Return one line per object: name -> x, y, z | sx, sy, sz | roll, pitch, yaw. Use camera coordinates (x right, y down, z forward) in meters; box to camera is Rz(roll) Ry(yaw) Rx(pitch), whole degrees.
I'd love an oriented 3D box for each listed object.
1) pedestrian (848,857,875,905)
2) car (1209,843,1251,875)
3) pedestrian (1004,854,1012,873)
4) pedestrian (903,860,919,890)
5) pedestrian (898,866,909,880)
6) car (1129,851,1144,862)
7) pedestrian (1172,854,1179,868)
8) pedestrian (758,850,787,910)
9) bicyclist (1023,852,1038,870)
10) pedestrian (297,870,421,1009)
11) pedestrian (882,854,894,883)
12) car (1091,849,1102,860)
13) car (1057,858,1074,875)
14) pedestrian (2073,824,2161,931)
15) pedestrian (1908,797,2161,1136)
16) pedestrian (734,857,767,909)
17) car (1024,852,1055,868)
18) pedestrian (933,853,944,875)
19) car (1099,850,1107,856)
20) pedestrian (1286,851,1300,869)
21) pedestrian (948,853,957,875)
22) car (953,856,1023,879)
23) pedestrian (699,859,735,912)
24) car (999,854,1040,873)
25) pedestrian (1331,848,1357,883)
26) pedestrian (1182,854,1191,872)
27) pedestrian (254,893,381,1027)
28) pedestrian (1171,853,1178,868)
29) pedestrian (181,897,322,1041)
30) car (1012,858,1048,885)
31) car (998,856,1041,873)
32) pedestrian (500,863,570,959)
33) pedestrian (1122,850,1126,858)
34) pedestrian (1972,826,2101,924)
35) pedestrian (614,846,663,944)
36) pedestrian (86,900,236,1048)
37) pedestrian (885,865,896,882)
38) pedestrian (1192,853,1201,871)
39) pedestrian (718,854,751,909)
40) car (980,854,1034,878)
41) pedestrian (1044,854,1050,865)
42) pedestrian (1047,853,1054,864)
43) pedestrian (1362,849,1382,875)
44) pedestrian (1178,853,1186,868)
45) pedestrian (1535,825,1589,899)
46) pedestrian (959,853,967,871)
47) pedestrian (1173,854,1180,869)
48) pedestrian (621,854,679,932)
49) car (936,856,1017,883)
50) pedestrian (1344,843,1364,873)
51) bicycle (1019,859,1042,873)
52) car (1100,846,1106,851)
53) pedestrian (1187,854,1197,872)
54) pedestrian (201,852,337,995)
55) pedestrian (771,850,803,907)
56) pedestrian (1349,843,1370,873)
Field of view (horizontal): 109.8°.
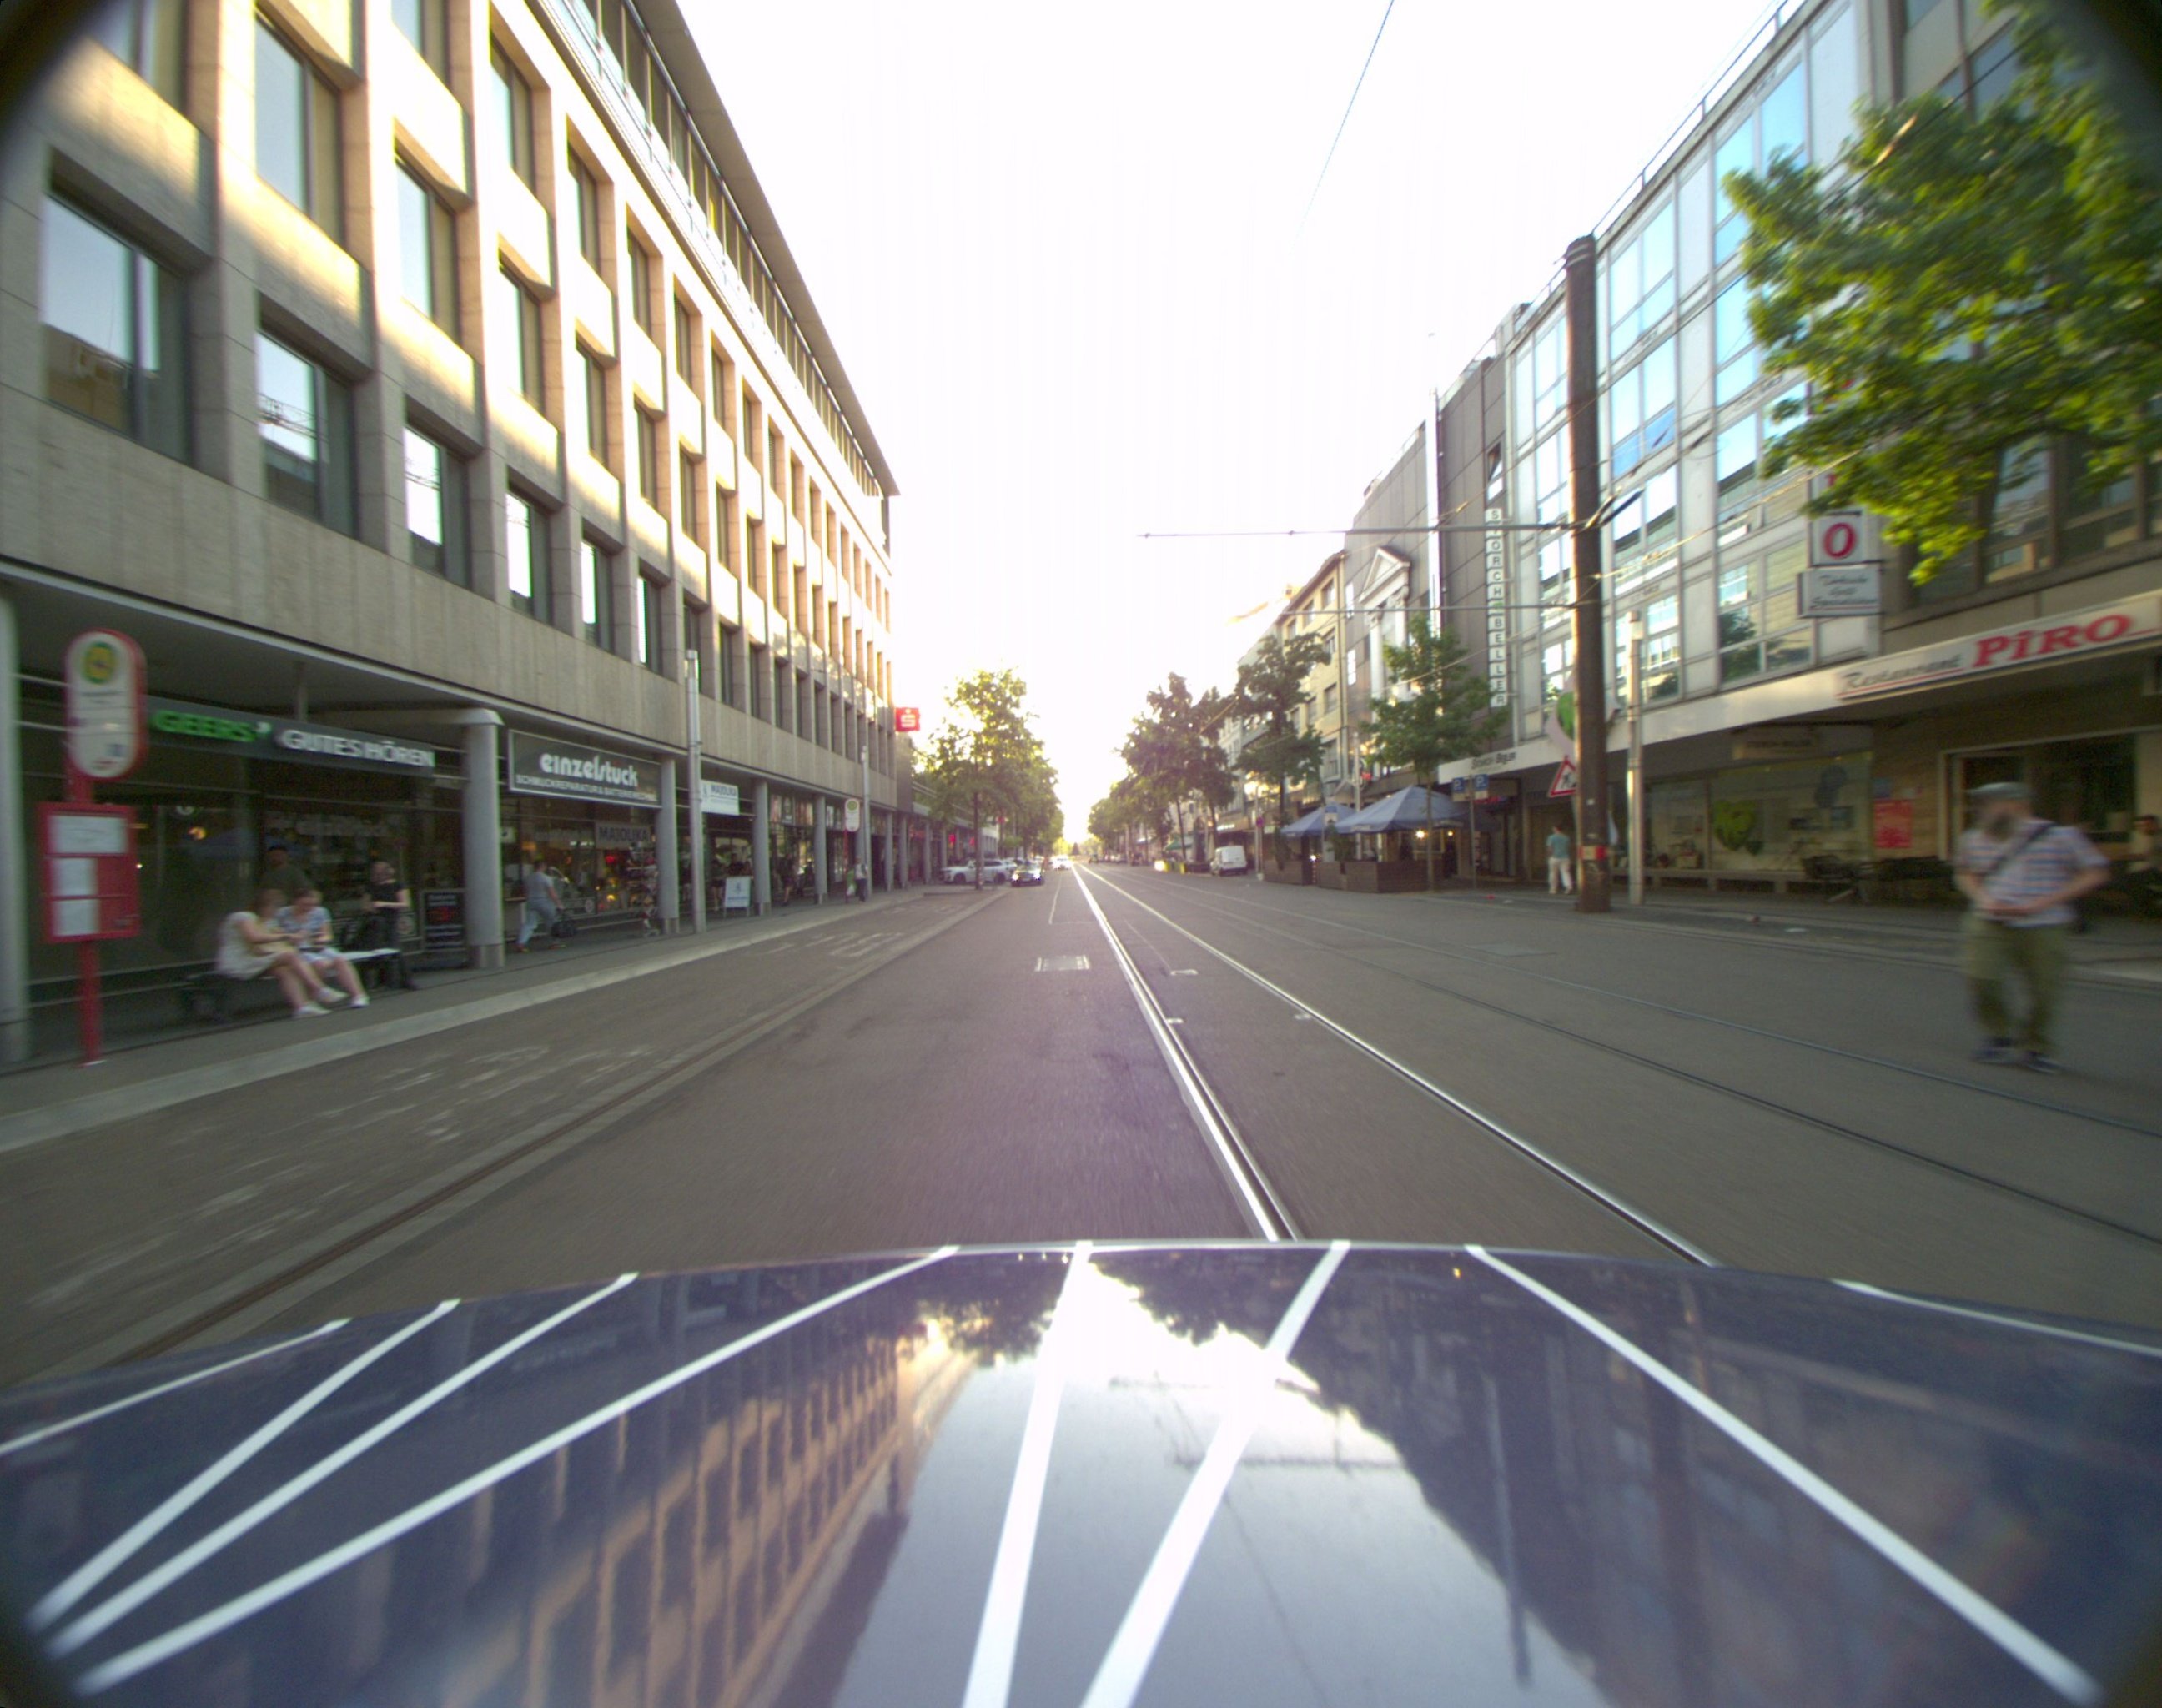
pedestrian -> -7.393, 0.896, 25.611 | 0.670, 1.579, 0.638 | -3, 1, -1
car -> 9.542, 0.299, 49.019 | 1.831, 1.811, 4.329 | -4, 0, 1
pedestrian -> -6.306, 0.815, 65.299 | 0.618, 1.681, 0.628 | -2, 1, -5
pedestrian -> -9.498, 1.163, 42.442 | 0.749, 1.634, 0.741 | -1, 1, -1
pedestrian -> -11.905, 1.267, 50.964 | 0.627, 0.876, 0.558 | -1, 1, -1
car -> 8.069, 0.325, 110.708 | 1.799, 1.501, 4.000 | -1, 0, 0
pedestrian -> 9.134, 0.651, 73.228 | 0.649, 1.378, 0.650 | -1, 1, 6
pedestrian -> -9.762, 0.814, 24.060 | 0.617, 1.878, 0.683 | -1, 1, 1
bicyclist -> -4.030, 0.532, 60.374 | 0.895, 1.406, 0.763 | -2, -1, 38
pedestrian -> -8.558, 0.984, 9.042 | 0.726, 1.561, 0.736 | -1, 1, 1
pedestrian -> -11.659, 0.879, 45.954 | 0.558, 1.762, 0.628 | -1, 1, 0
car -> 3.128, 0.091, 153.632 | 1.998, 2.002, 4.000 | -1, 0, 0
car -> -1.913, 1.517, 93.459 | 1.998, 2.002, 4.000 | -1, 0, 0
pedestrian -> 13.883, 0.291, 9.906 | 0.672, 1.318, 0.912 | -4, 1, -2
pedestrian -> 5.870, 0.595, 4.633 | 0.991, 1.782, 0.821 | -4, 1, -27
pedestrian -> -10.591, 0.924, 24.344 | 0.682, 1.634, 0.788 | -1, 1, -2
car -> -5.260, 0.795, 97.238 | 1.860, 1.776, 4.007 | -4, 1, 34
pedestrian -> -10.961, 0.747, 58.472 | 0.629, 1.681, 0.556 | -2, 1, -42
car -> 5.355, -0.223, 182.702 | 1.799, 1.501, 4.000 | -1, 0, 0
pedestrian -> 13.877, 0.369, 49.760 | 0.650, 1.168, 0.650 | -2, 1, -6
pedestrian -> -9.781, 0.743, 57.876 | 0.618, 1.681, 0.628 | -1, 1, 0
car -> -6.660, 0.961, 54.823 | 4.646, 1.578, 1.913 | 1, 0, -35
pedestrian -> -11.443, 0.969, 23.884 | 0.712, 1.634, 0.818 | -1, 1, -2
car -> -6.825, 1.019, 84.487 | 4.004, 1.776, 1.861 | -4, 1, -24
pedestrian -> 11.147, 0.466, 32.186 | 0.766, 1.393, 0.746 | -4, 1, -1
pedestrian -> 8.773, 0.721, 63.040 | 0.649, 1.451, 0.650 | -2, 1, 0
pedestrian -> -7.981, 1.091, 7.964 | 0.720, 1.307, 0.524 | -2, 1, 1
pedestrian -> 9.123, 0.640, 74.470 | 0.649, 1.378, 0.650 | -1, 1, 6
pedestrian -> -8.069, 1.099, 7.417 | 0.720, 1.307, 0.532 | -2, 1, 1
car -> -2.997, 1.012, 45.437 | 1.799, 1.400, 4.565 | -3, 0, 0
car -> -6.438, 1.095, 79.646 | 4.005, 1.501, 1.861 | -4, 1, -30
pedestrian -> -9.745, 0.995, 13.590 | 0.689, 1.652, 0.722 | -1, 1, 0
pedestrian -> 7.941, 0.012, 141.190 | 0.650, 1.451, 0.650 | -2, 1, -2
pedestrian -> 13.811, 0.286, 11.007 | 0.672, 1.318, 0.912 | -4, 1, -2
pedestrian -> -8.959, 0.815, 15.400 | 0.579, 1.933, 0.655 | -1, 1, -1
pedestrian -> -8.810, 1.129, 7.299 | 0.720, 1.307, 0.532 | -2, 1, 1
pedestrian -> -11.776, 1.225, 47.001 | 0.628, 1.030, 0.558 | -1, 1, -9
pedestrian -> 9.570, 0.691, 62.892 | 0.649, 1.451, 0.651 | -1, 1, 17
pedestrian -> -11.447, 0.896, 25.106 | 0.675, 1.762, 0.863 | -1, 1, -1
car -> -6.746, 1.066, 69.280 | 4.474, 1.869, 1.796 | -5, 1, -38
pedestrian -> -4.485, 0.697, 100.263 | 0.650, 1.451, 0.649 | -2, 1, -17
pedestrian -> -4.130, 0.660, 102.886 | 0.650, 1.451, 0.649 | -2, 1, -17
pedestrian -> 13.836, 0.371, 36.131 | 0.642, 1.150, 0.665 | -4, 1, -3
pedestrian -> 9.727, 0.628, 73.205 | 0.649, 1.378, 0.650 | -1, 1, 6
pedestrian -> 12.042, 0.187, 19.060 | 0.685, 1.782, 0.991 | -4, 1, 6
pedestrian -> -11.012, 0.751, 71.077 | 0.618, 1.681, 0.628 | -1, 1, 0
pedestrian -> 8.711, 0.703, 69.333 | 0.649, 1.378, 0.650 | -1, 1, 6
pedestrian -> -10.139, 0.905, 17.911 | 0.846, 1.787, 0.858 | -1, 1, 0
car -> -6.513, 0.977, 47.491 | 4.646, 1.619, 1.914 | 1, -2, -32
pedestrian -> 13.858, 0.193, 38.587 | 0.662, 1.426, 0.643 | -6, 2, -1
bicycle -> -4.016, 0.964, 60.374 | 1.860, 1.067, 0.734 | -2, -1, 38
car -> 6.752, -1.566, 230.430 | 1.799, 1.501, 4.000 | -1, 0, 0
pedestrian -> 9.069, 0.718, 62.103 | 0.648, 1.451, 0.651 | -1, 1, 29
pedestrian -> -11.116, 0.914, 10.444 | 0.846, 1.878, 0.899 | -1, 1, 0
pedestrian -> -9.810, 0.812, 25.381 | 0.708, 1.878, 0.796 | -1, 1, 0
pedestrian -> 13.876, 0.199, 37.868 | 0.662, 1.426, 0.643 | -6, 2, -1
